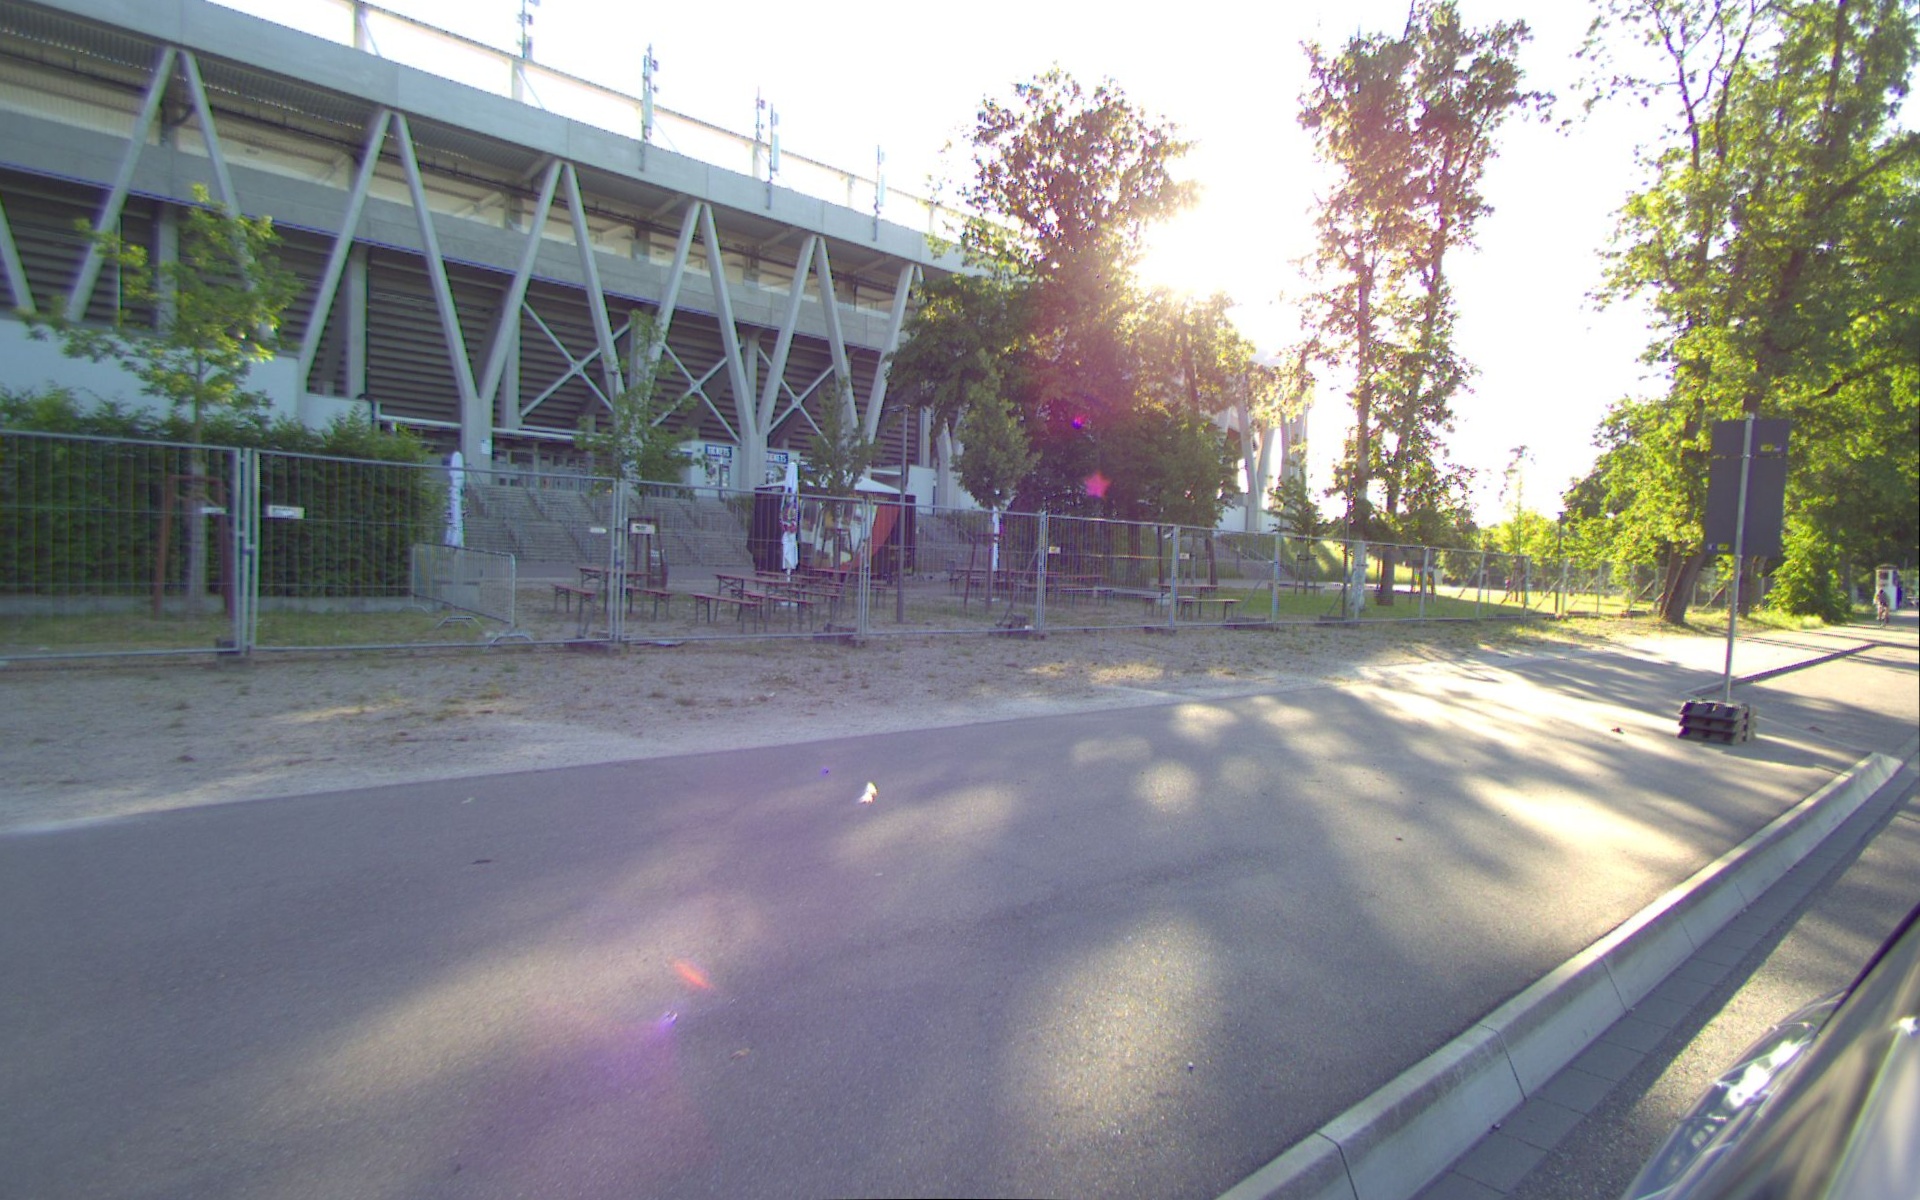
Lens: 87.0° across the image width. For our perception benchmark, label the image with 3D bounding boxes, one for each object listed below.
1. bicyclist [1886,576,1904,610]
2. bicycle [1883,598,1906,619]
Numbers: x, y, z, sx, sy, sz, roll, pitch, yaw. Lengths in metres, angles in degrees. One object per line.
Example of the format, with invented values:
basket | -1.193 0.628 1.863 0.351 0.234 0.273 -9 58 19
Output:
bicyclist | 39.716 -0.297 42.974 0.565 1.438 0.451 0 2 -39
bicycle | 39.728 0.364 43.026 1.876 0.869 0.481 0 2 -41
